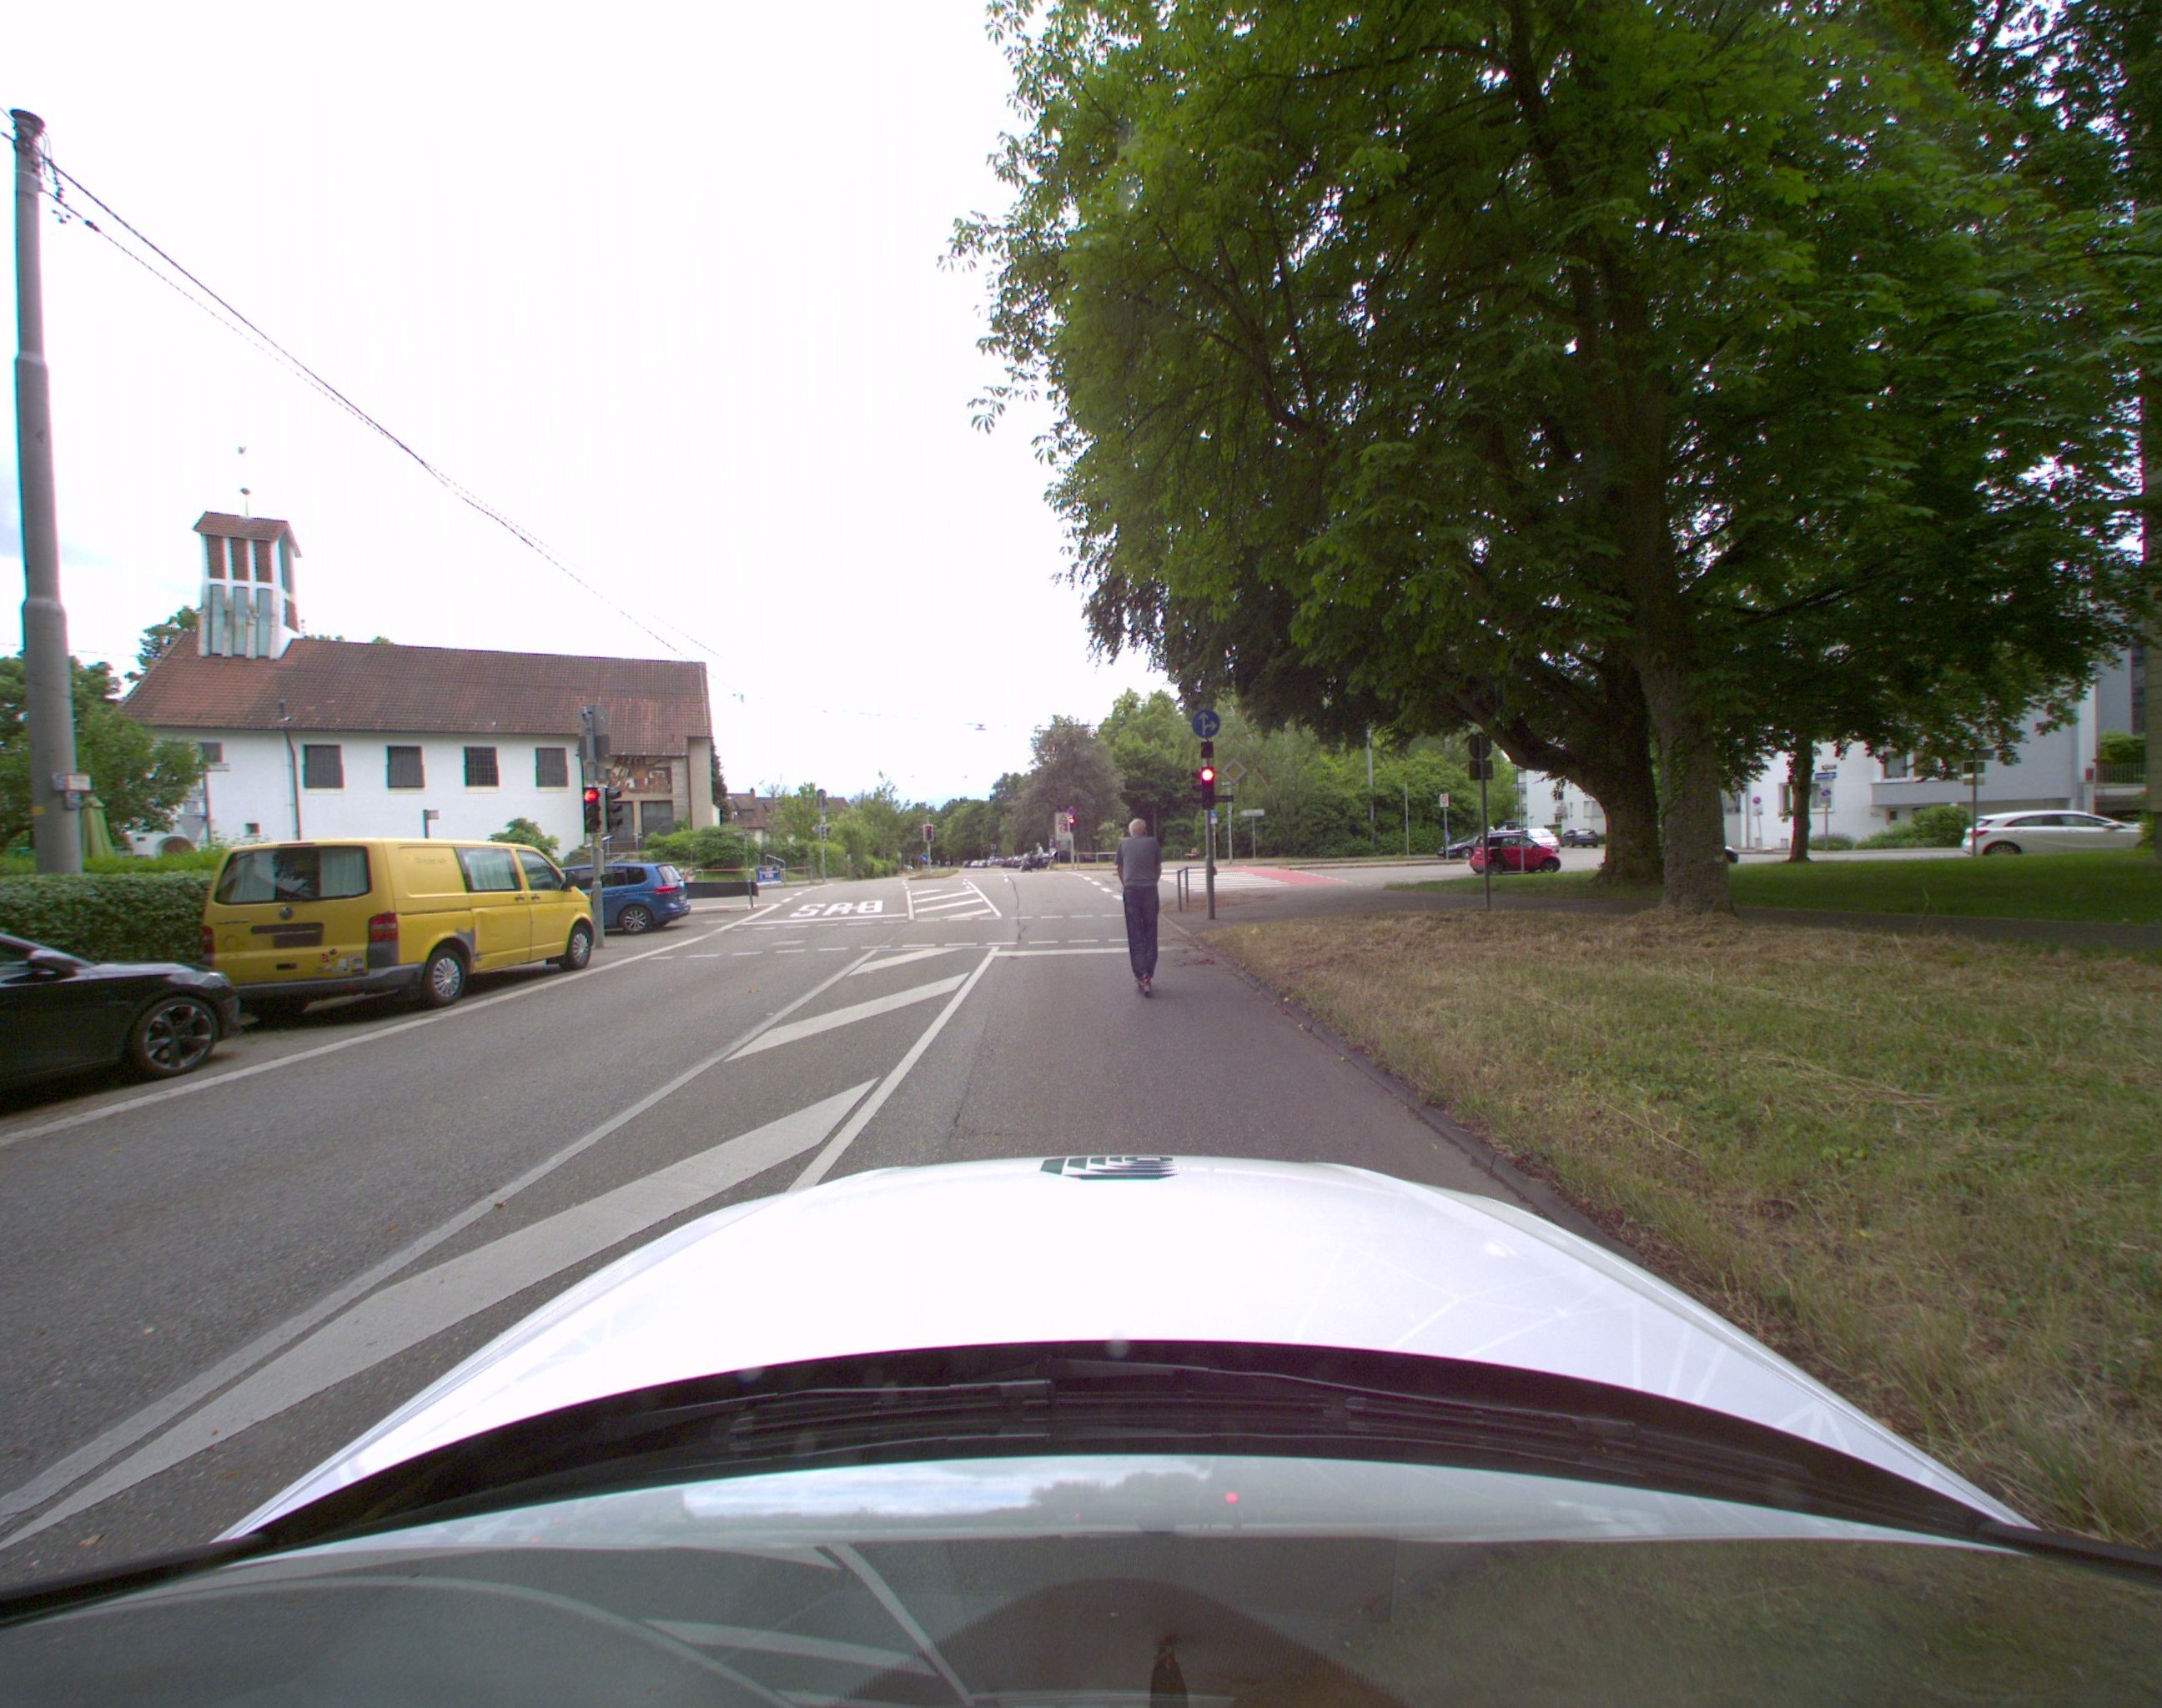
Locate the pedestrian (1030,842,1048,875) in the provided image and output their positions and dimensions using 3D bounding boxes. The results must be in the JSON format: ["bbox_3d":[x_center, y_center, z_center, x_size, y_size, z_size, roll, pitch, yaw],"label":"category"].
[{"bbox_3d":[-2.485,0.270,48.510,0.885,1.862,0.571,-3,0,-15],"label":"pedestrian"}]

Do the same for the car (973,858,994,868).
[{"bbox_3d":[-19.282,1.806,160.927,3.857,1.610,1.715,-4,0,-22],"label":"car"}]

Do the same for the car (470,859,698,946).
[{"bbox_3d":[-11.176,1.037,18.627,3.993,1.610,1.809,-4,0,-14],"label":"car"}]

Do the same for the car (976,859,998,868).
[{"bbox_3d":[-18.276,1.828,158.783,3.857,1.610,1.715,-4,0,-22],"label":"car"}]

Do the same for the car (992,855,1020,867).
[{"bbox_3d":[-11.638,1.130,126.531,3.857,1.610,1.715,-4,0,-22],"label":"car"}]

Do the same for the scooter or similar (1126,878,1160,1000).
[{"bbox_3d":[0.671,0.877,8.793,0.280,1.178,1.178,-3,0,5],"label":"scooter or similar"}]

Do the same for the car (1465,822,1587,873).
[{"bbox_3d":[16.268,-0.252,29.925,3.500,1.610,1.731,-3,0,6],"label":"car"}]

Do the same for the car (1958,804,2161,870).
[{"bbox_3d":[27.697,-0.458,22.992,3.804,1.610,1.739,-3,0,42],"label":"car"}]

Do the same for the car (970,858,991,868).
[{"bbox_3d":[-20.141,1.826,163.508,3.857,1.610,1.715,-4,0,-22],"label":"car"}]

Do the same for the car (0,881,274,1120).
[{"bbox_3d":[-7.899,1.031,4.854,1.686,1.485,4.539,-3,0,-2],"label":"car"}]

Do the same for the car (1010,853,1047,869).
[{"bbox_3d":[-6.018,0.773,93.633,3.857,1.610,1.715,-4,0,-22],"label":"car"}]

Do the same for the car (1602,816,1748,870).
[{"bbox_3d":[20.594,-0.377,28.425,3.805,1.610,1.739,-3,0,27],"label":"car"}]

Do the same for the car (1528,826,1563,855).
[{"bbox_3d":[28.272,-0.853,49.617,1.706,1.610,3.878,-3,0,29],"label":"car"}]

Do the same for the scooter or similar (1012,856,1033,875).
[{"bbox_3d":[-3.446,0.697,48.223,1.110,1.081,0.574,-3,0,-16],"label":"scooter or similar"}]

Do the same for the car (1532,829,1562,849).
[{"bbox_3d":[41.970,-1.363,73.456,1.708,1.610,3.875,-3,0,21],"label":"car"}]

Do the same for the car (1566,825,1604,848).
[{"bbox_3d":[38.281,-1.373,61.993,1.708,1.610,3.875,-3,0,21],"label":"car"}]

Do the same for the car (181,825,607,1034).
[{"bbox_3d":[-8.307,0.755,10.582,1.881,2.013,4.557,-3,0,-6],"label":"car"}]

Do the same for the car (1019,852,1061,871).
[{"bbox_3d":[-4.236,0.767,83.850,3.857,1.610,1.715,-4,0,-22],"label":"car"}]

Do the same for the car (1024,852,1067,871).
[{"bbox_3d":[-3.516,0.743,81.300,3.858,1.610,1.715,-4,0,-23],"label":"car"}]

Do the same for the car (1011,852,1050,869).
[{"bbox_3d":[-5.654,0.755,91.216,3.857,1.610,1.715,-4,0,-22],"label":"car"}]

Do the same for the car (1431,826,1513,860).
[{"bbox_3d":[20.680,-0.591,43.225,3.499,1.530,1.732,-3,0,7],"label":"car"}]

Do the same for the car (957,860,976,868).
[{"bbox_3d":[-25.315,2.222,179.870,3.857,1.610,1.715,-4,0,-22],"label":"car"}]

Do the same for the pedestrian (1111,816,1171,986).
[{"bbox_3d":[0.658,0.512,9.026,0.570,1.813,0.420,-3,0,2],"label":"pedestrian"}]
